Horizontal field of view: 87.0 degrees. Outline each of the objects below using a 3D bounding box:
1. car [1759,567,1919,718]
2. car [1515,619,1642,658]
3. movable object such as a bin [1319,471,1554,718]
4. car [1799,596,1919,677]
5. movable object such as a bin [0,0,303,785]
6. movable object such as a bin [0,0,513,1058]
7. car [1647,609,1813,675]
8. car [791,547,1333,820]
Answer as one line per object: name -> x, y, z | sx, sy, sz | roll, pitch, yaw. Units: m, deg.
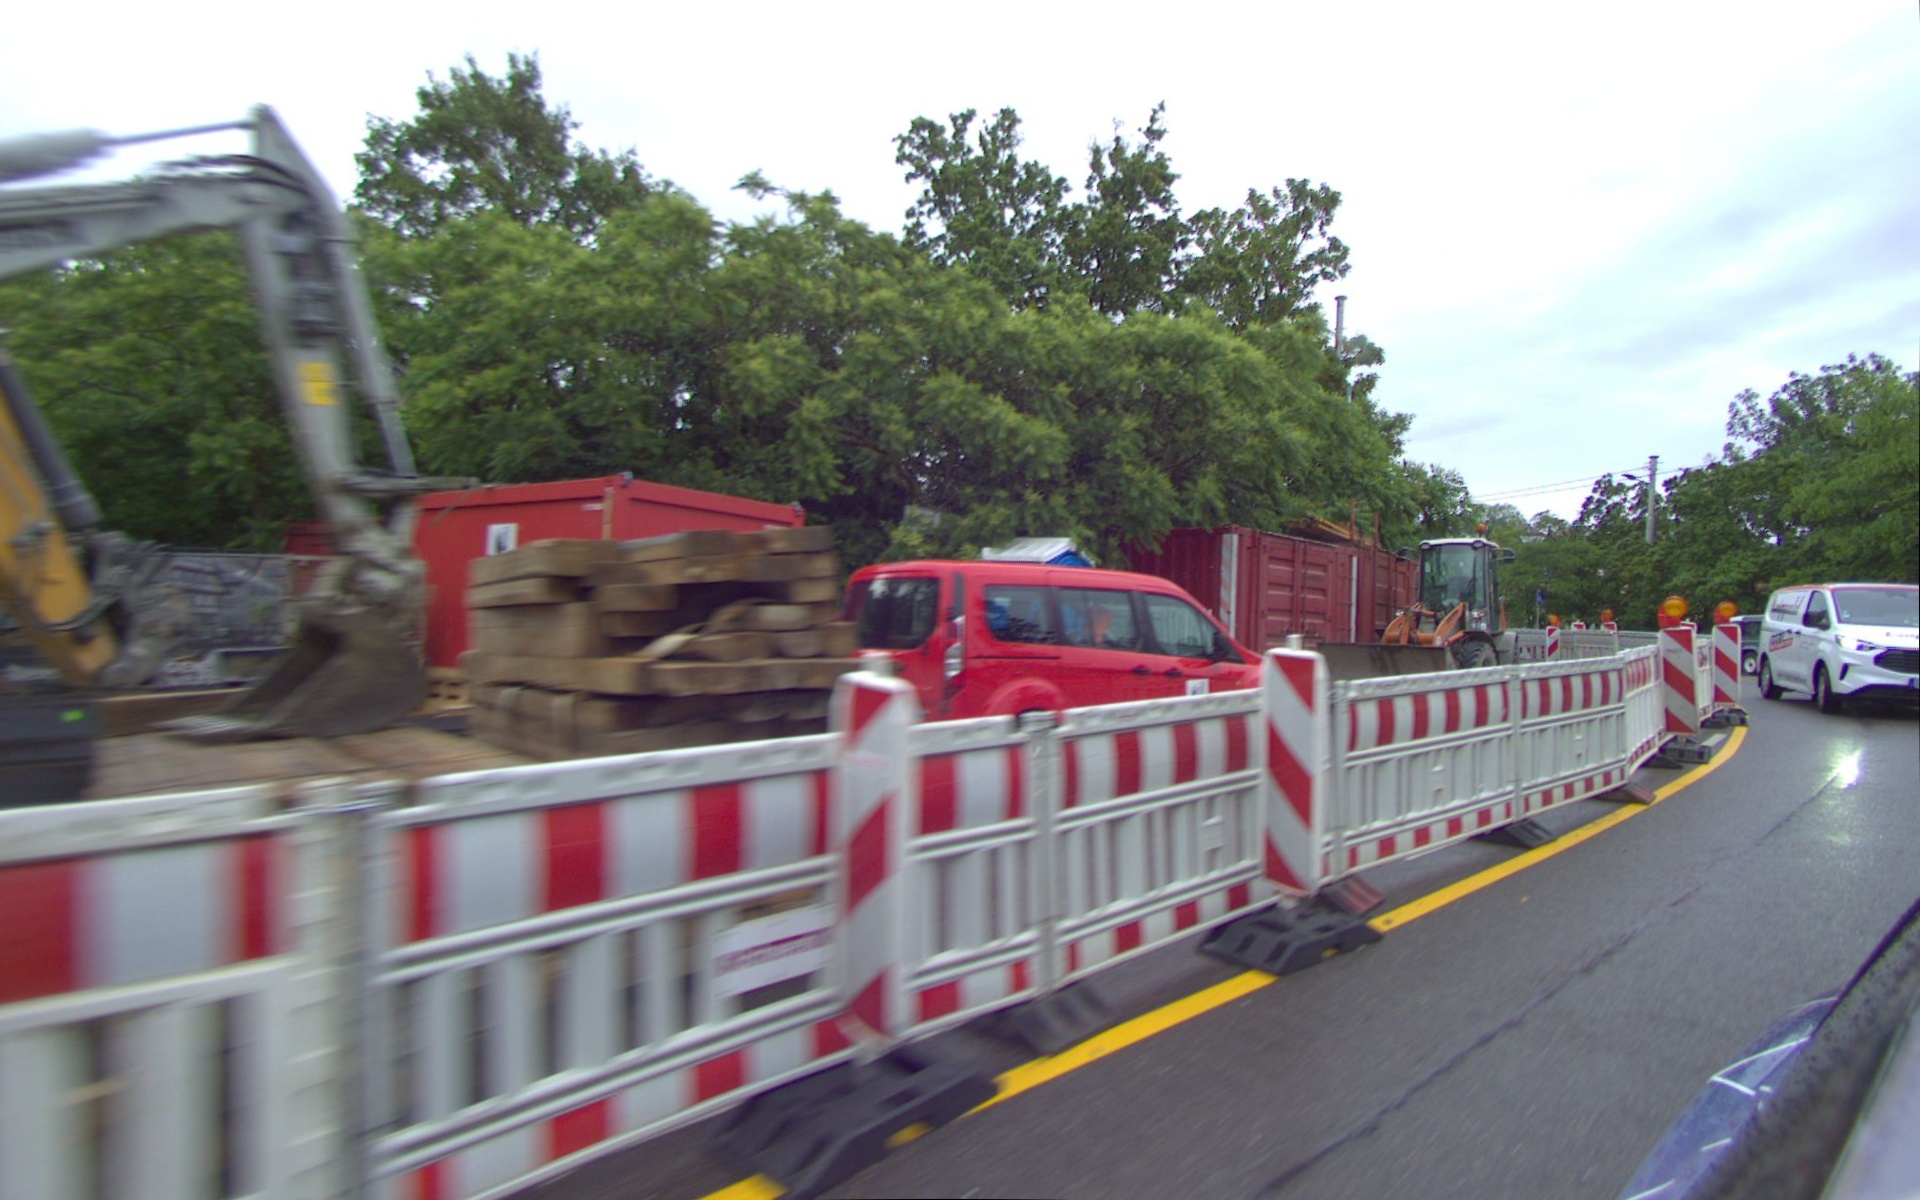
car -> 14.339, 0.574, 15.762 | 1.980, 2.039, 4.902 | 1, 0, 27
car -> 25.486, 1.552, 41.906 | 1.925, 1.458, 4.330 | 4, -2, -14
movable object such as a bin -> 7.909, 0.134, 16.448 | 2.073, 3.270, 5.202 | -1, -7, 41
car -> 25.819, 1.020, 27.966 | 1.969, 2.039, 4.929 | 1, -1, 12
movable object such as a bin -> -7.775, -1.284, 2.857 | 3.021, 4.979, 10.780 | -1, 2, 13
movable object such as a bin -> -3.795, -0.348, 3.296 | 3.774, 3.346, 1.995 | -3, 2, -44
car -> 26.401, 1.418, 34.953 | 1.834, 2.040, 4.815 | 2, -2, -4
car -> 1.137, 0.572, 9.056 | 4.909, 1.802, 1.997 | 1, 0, -41
